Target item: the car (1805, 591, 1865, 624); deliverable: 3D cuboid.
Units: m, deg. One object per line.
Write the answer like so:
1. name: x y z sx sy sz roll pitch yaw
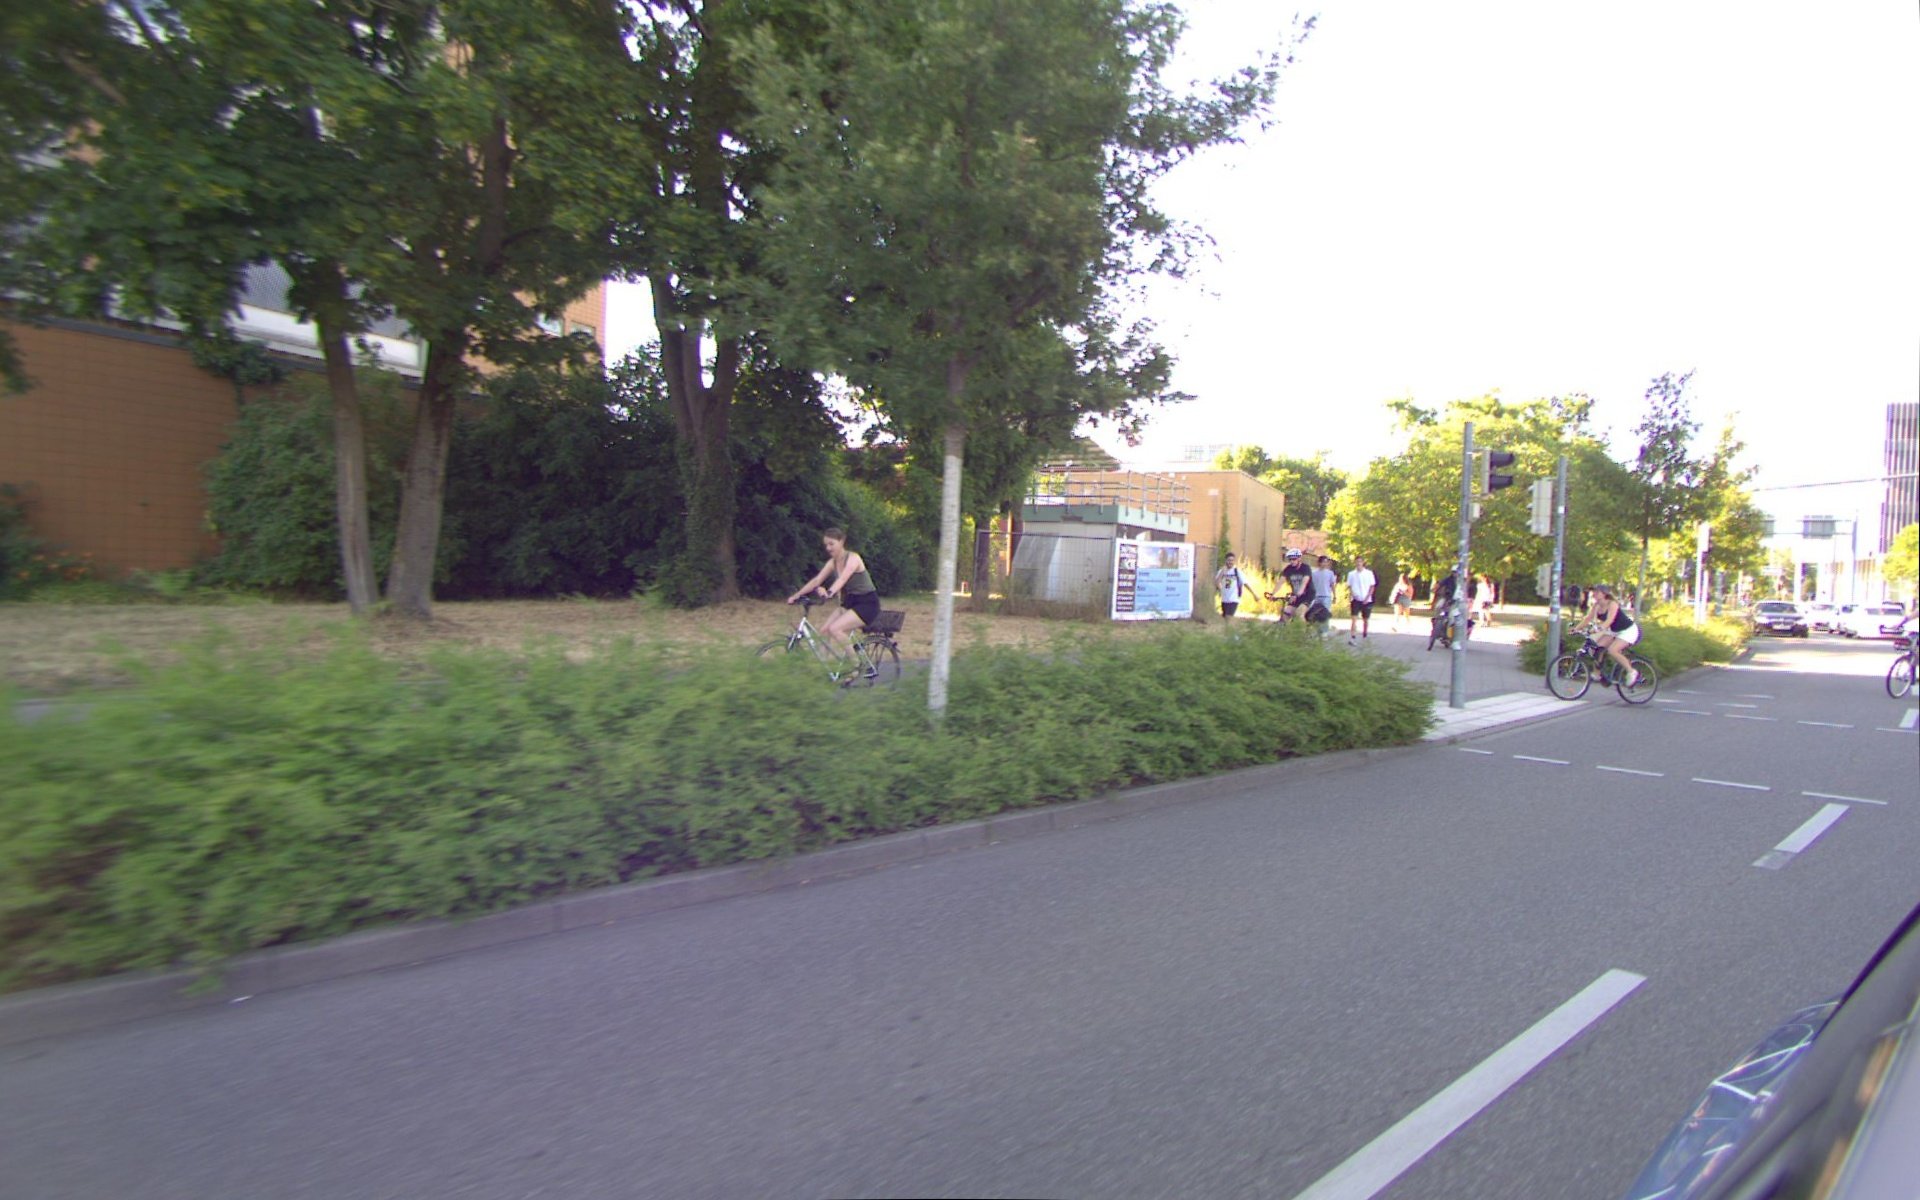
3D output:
1. car: 44.873 0.368 51.968 1.914 1.537 3.966 3 2 36

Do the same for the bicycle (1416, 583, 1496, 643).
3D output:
1. bicycle: 10.614 0.254 21.607 0.778 1.170 2.540 3 2 43

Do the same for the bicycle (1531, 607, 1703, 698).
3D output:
1. bicycle: 9.110 0.715 14.089 1.836 1.135 0.718 3 0 6

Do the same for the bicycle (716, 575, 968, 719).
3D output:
1. bicycle: -1.068 0.391 9.546 2.249 1.169 0.780 0 5 -38

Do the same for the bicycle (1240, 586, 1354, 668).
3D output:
1. bicycle: 5.320 0.392 15.902 0.778 1.170 2.255 3 2 44

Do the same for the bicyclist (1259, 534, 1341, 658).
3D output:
1. bicyclist: 5.342 -0.079 15.894 0.778 1.853 1.076 3 2 44

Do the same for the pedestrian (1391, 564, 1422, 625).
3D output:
1. pedestrian: 12.038 -0.150 27.263 0.618 1.594 0.632 3 2 33

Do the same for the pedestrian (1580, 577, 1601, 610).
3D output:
1. pedestrian: 30.979 -0.347 49.727 0.756 1.562 0.839 3 2 27

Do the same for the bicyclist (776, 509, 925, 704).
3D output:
1. bicyclist: -1.032 0.035 9.531 1.073 1.697 0.781 0 5 -38

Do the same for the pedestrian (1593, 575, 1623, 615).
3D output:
1. pedestrian: 29.575 -0.238 46.215 1.009 1.770 0.842 3 2 28

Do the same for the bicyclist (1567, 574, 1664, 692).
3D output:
1. bicyclist: 9.111 0.443 14.095 0.835 1.568 0.716 3 0 6

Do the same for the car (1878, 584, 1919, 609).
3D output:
1. car: 68.402 -0.247 73.492 1.988 1.705 4.569 3 2 36

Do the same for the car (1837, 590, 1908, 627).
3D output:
1. car: 41.574 0.346 46.198 1.914 1.537 3.966 3 2 36

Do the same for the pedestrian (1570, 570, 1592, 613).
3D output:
1. pedestrian: 25.513 -0.361 41.584 0.707 1.734 0.725 3 2 33

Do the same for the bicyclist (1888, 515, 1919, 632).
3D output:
1. bicyclist: 15.252 -0.412 15.811 0.832 1.810 0.718 0 0 -5

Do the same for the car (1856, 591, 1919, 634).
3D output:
1. car: 37.266 0.463 40.371 1.793 1.537 4.374 3 2 36

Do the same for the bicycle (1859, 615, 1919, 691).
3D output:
1. bicycle: 15.338 0.821 15.819 2.025 1.135 0.720 0 0 -5

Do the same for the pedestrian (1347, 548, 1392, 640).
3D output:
1. pedestrian: 8.595 -0.127 21.264 0.610 1.892 0.577 2 2 -6

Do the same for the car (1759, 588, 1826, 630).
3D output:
1. car: 33.865 0.331 41.233 1.793 1.537 3.948 3 2 36

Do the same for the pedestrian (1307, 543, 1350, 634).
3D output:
1. pedestrian: 7.857 -0.248 21.604 0.610 1.892 0.577 2 2 -6

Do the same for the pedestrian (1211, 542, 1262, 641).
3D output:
1. pedestrian: 4.979 -0.164 18.235 0.620 1.720 0.621 3 2 42

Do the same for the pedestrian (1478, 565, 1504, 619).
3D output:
1. pedestrian: 17.464 -0.262 33.301 0.670 1.725 0.868 3 2 28

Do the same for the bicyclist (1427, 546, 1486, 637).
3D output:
1. bicyclist: 10.559 -0.196 21.519 0.778 1.856 1.076 3 2 43
